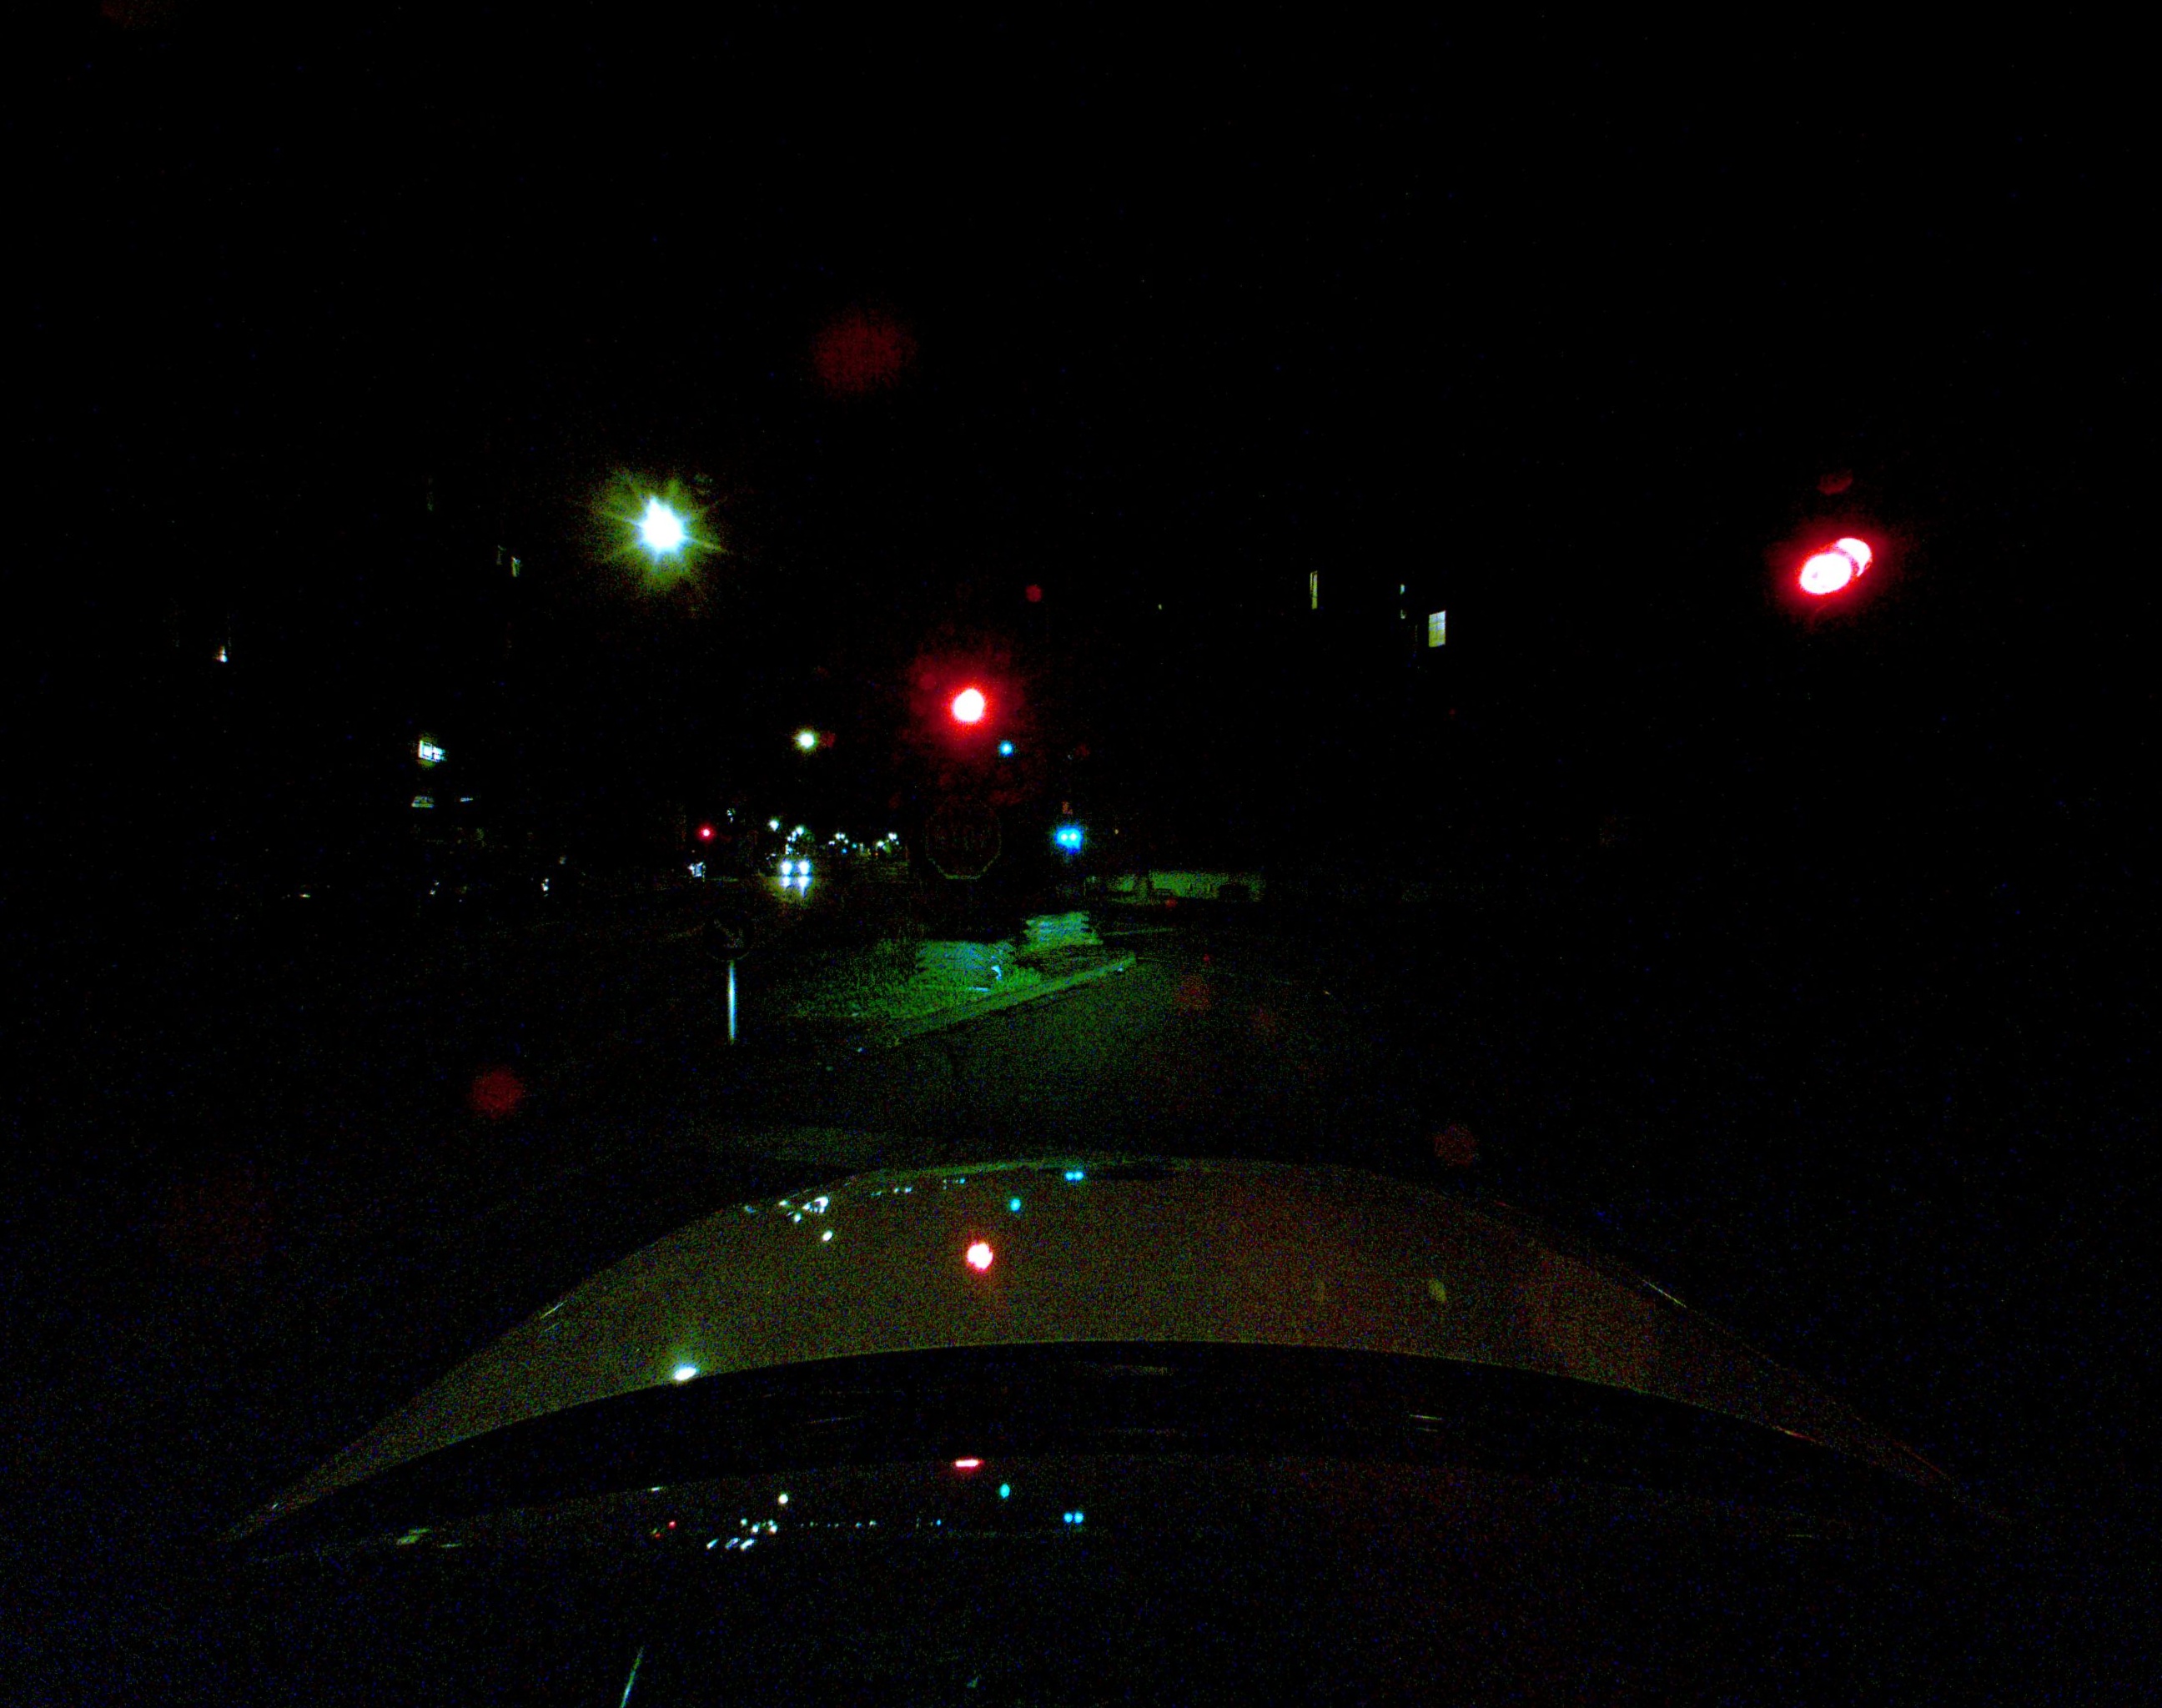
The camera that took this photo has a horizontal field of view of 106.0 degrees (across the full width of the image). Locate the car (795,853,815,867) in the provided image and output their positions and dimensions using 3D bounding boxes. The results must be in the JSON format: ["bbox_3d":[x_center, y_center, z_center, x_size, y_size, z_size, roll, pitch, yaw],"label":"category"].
[{"bbox_3d":[-31.601,0.676,93.440,1.787,1.416,4.106,3,-1,-14],"label":"car"}]

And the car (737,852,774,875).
[{"bbox_3d":[-23.582,0.660,59.079,1.592,1.491,3.688,4,-1,-8],"label":"car"}]

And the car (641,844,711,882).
[{"bbox_3d":[-19.144,0.424,38.671,1.887,1.596,4.008,3,-1,-11],"label":"car"}]

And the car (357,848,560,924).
[{"bbox_3d":[-13.725,0.661,18.344,1.863,1.433,4.423,3,-1,-13],"label":"car"}]

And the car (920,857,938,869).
[{"bbox_3d":[-19.674,1.136,105.095,1.738,1.460,4.700,2,-1,-17],"label":"car"}]

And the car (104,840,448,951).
[{"bbox_3d":[-12.677,0.594,13.339,1.863,1.479,4.453,2,-1,-13],"label":"car"}]

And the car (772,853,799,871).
[{"bbox_3d":[-26.534,0.696,73.165,1.787,1.491,3.980,4,-1,-14],"label":"car"}]

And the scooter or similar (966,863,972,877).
[{"bbox_3d":[-9.552,1.362,69.246,0.421,1.130,1.490,1,0,-5],"label":"scooter or similar"}]

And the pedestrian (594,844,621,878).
[{"bbox_3d":[-24.108,0.338,41.454,0.708,1.690,1.123,1,-1,-3],"label":"pedestrian"}]

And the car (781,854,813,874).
[{"bbox_3d":[-20.732,0.703,59.573,1.717,1.429,3.983,0,0,-13],"label":"car"}]

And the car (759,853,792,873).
[{"bbox_3d":[-25.286,0.705,67.469,1.785,1.491,4.313,4,-1,-11],"label":"car"}]
